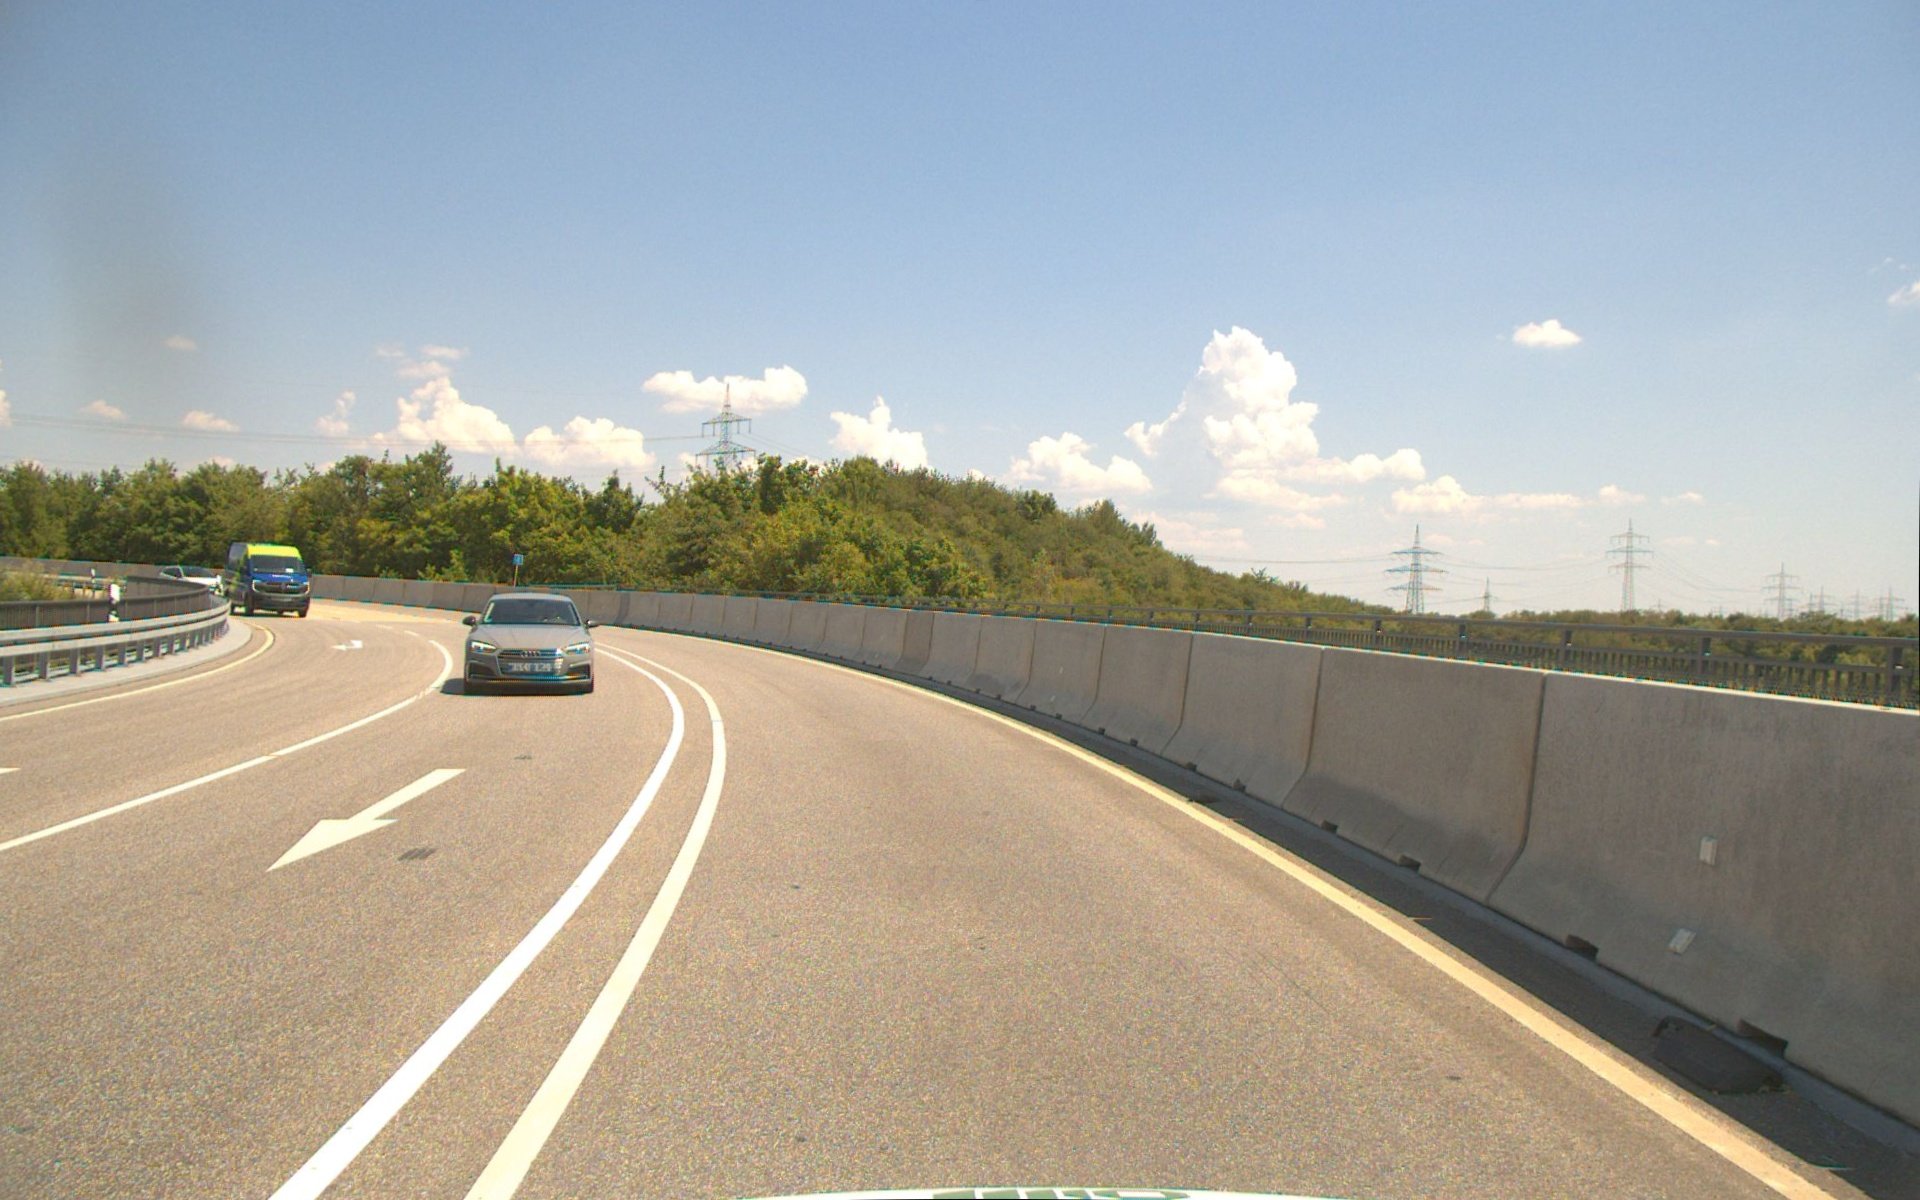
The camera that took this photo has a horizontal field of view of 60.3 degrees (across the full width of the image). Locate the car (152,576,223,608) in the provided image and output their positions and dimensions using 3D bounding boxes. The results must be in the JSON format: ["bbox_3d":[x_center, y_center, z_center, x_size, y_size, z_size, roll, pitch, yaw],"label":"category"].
[{"bbox_3d":[-36.975,-0.382,79.108,1.736,1.484,4.294,-2,1,-45],"label":"car"}]

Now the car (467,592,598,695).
[{"bbox_3d":[-6.472,0.600,25.127,1.749,1.409,4.266,1,0,-14],"label":"car"}]

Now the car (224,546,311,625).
[{"bbox_3d":[-24.748,-0.591,58.969,1.975,2.527,5.422,-3,4,-32],"label":"car"}]
